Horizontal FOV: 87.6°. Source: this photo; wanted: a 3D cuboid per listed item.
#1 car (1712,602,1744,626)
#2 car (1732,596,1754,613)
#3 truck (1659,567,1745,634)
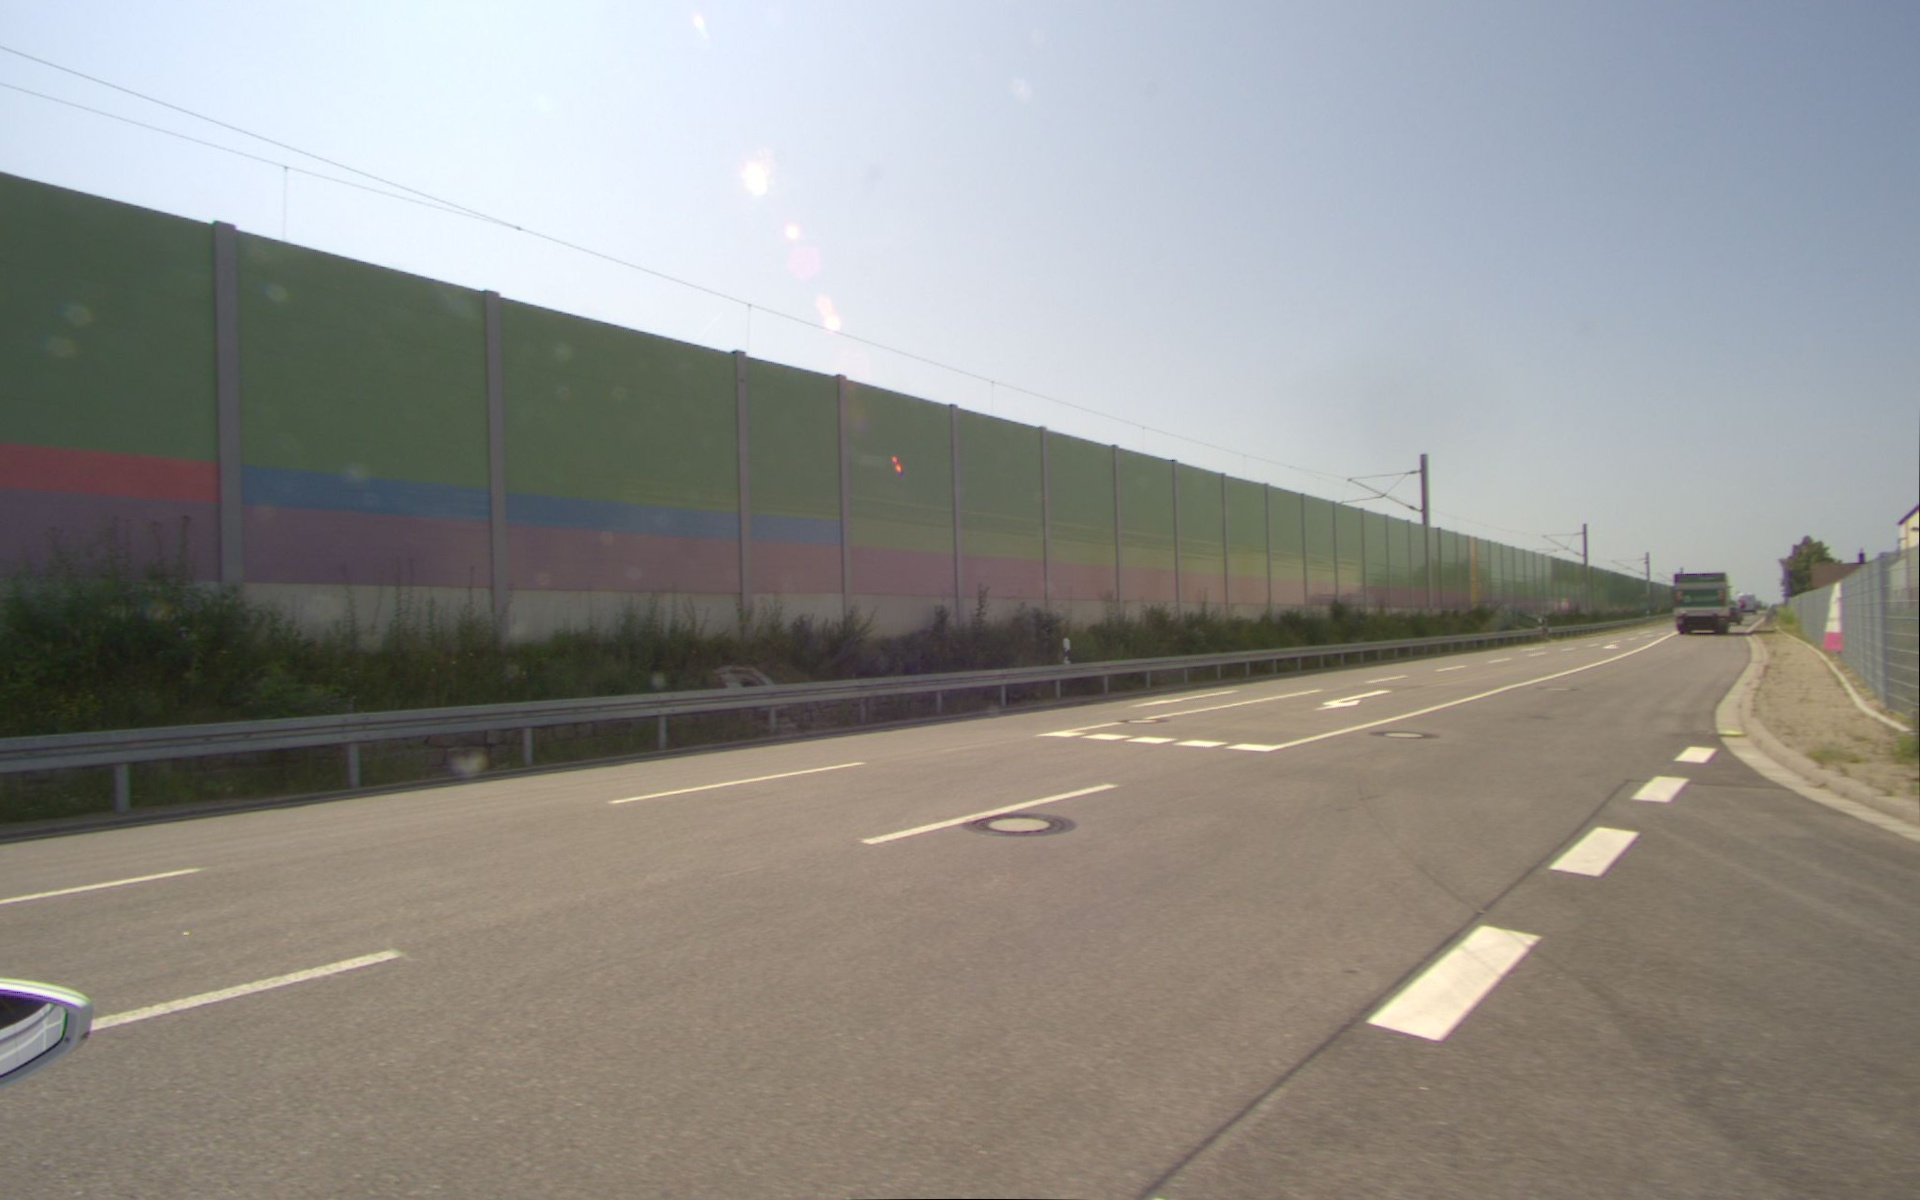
[{"bbox_3d":[66.569,1.235,86.763,1.977,2.039,3.969,-2,-3,40],"label":"car"},{"bbox_3d":[100.314,0.594,128.280,1.977,2.039,3.969,-2,-3,40],"label":"car"},{"bbox_3d":[47.596,0.200,64.058,3.526,3.927,11.326,-2,-3,41],"label":"truck"}]
